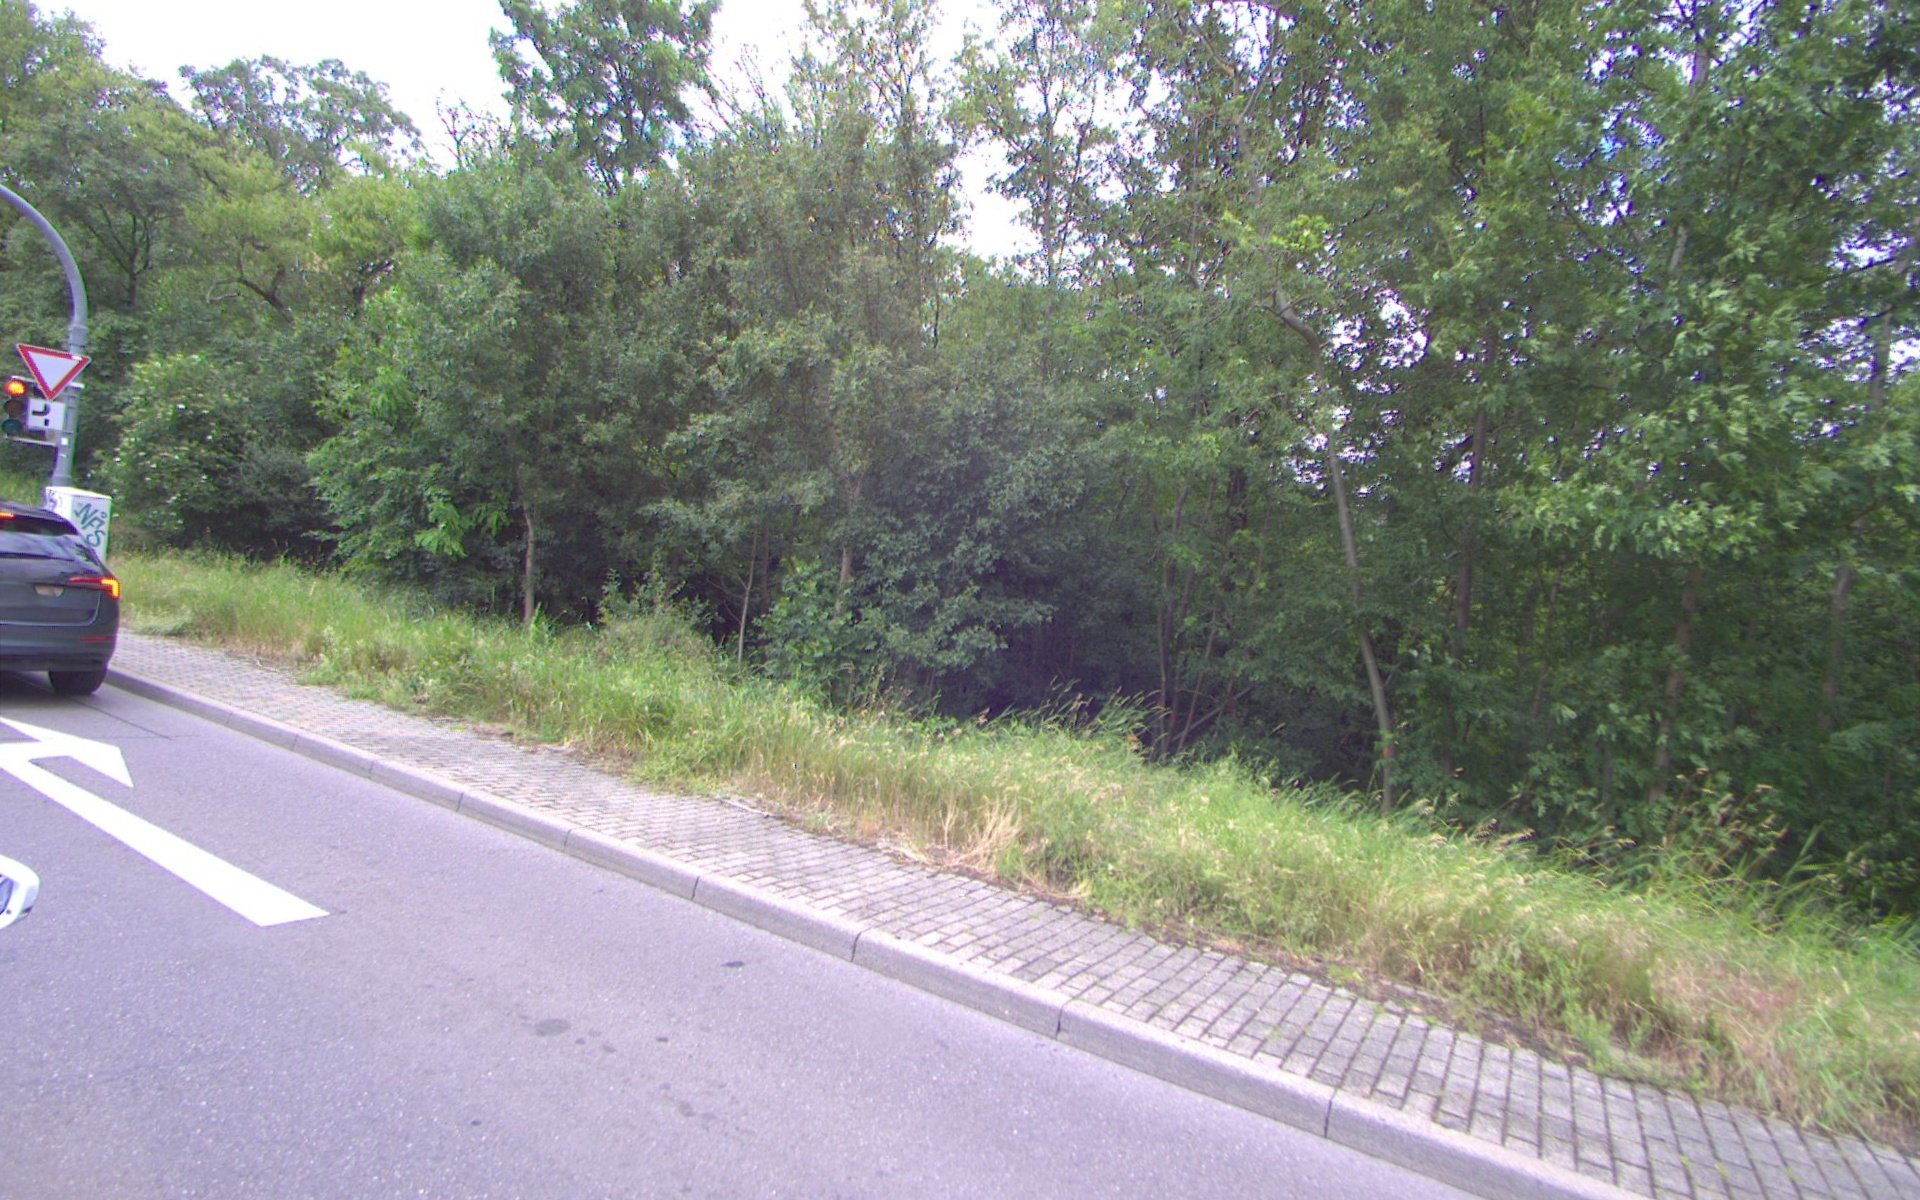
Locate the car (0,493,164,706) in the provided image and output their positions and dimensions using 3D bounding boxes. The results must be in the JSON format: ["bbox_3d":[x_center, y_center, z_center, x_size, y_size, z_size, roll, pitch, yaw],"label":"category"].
[{"bbox_3d":[-8.294,-0.196,7.929,3.933,1.468,1.795,7,0,31],"label":"car"}]
